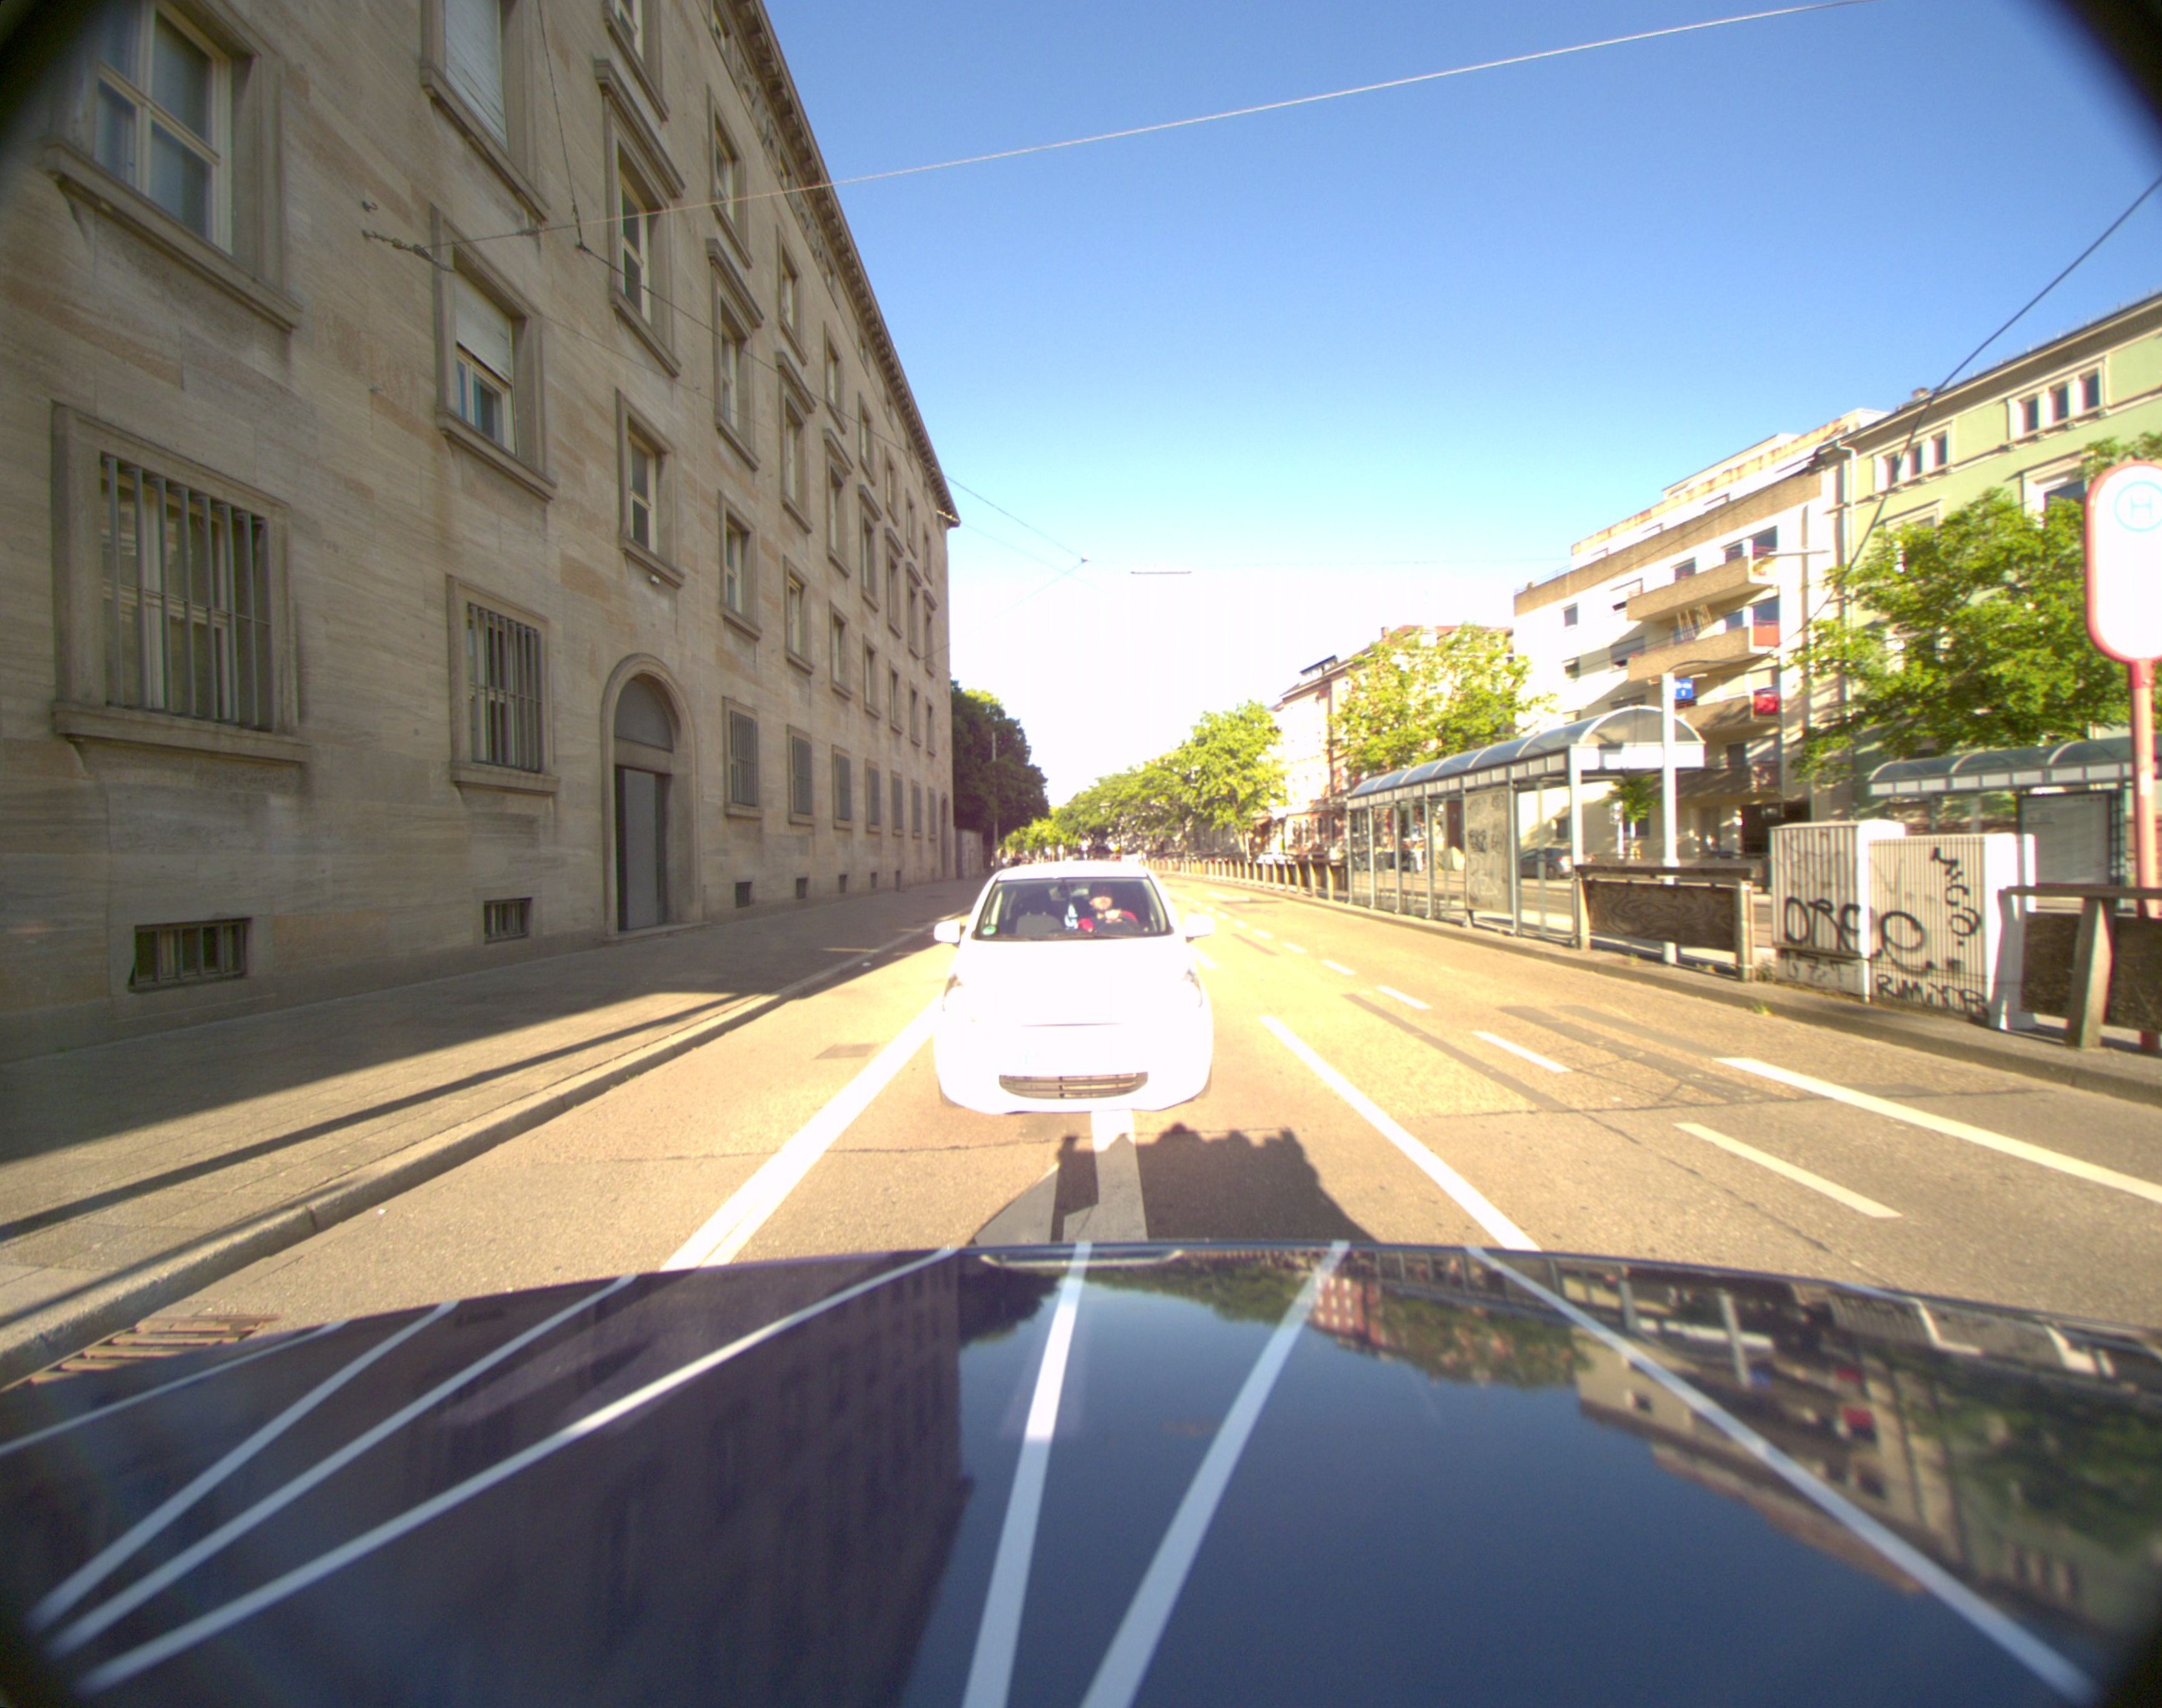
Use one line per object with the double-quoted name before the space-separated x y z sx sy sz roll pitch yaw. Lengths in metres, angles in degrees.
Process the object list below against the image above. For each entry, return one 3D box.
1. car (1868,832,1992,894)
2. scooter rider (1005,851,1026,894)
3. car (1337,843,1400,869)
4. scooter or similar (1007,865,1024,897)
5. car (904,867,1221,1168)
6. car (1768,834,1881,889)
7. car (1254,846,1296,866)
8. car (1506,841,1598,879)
"car" 24.465 0.227 21.888 3.605 1.558 1.627 -3 1 -29
"scooter rider" -2.539 0.719 29.556 0.731 1.661 0.556 -1 1 -1
"car" 19.548 0.118 51.721 3.599 1.558 1.630 -2 1 -7
"scooter or similar" -2.526 1.030 29.505 0.536 1.178 1.328 -1 0 0
"car" -0.073 0.894 5.808 1.612 1.462 3.631 -2 0 1
"car" 23.886 0.220 24.401 3.605 1.558 1.627 -3 1 -29
"car" 16.263 0.148 63.475 3.607 1.558 1.627 -3 1 -42
"car" 20.918 0.226 33.931 1.631 1.558 3.598 -2 1 -5
